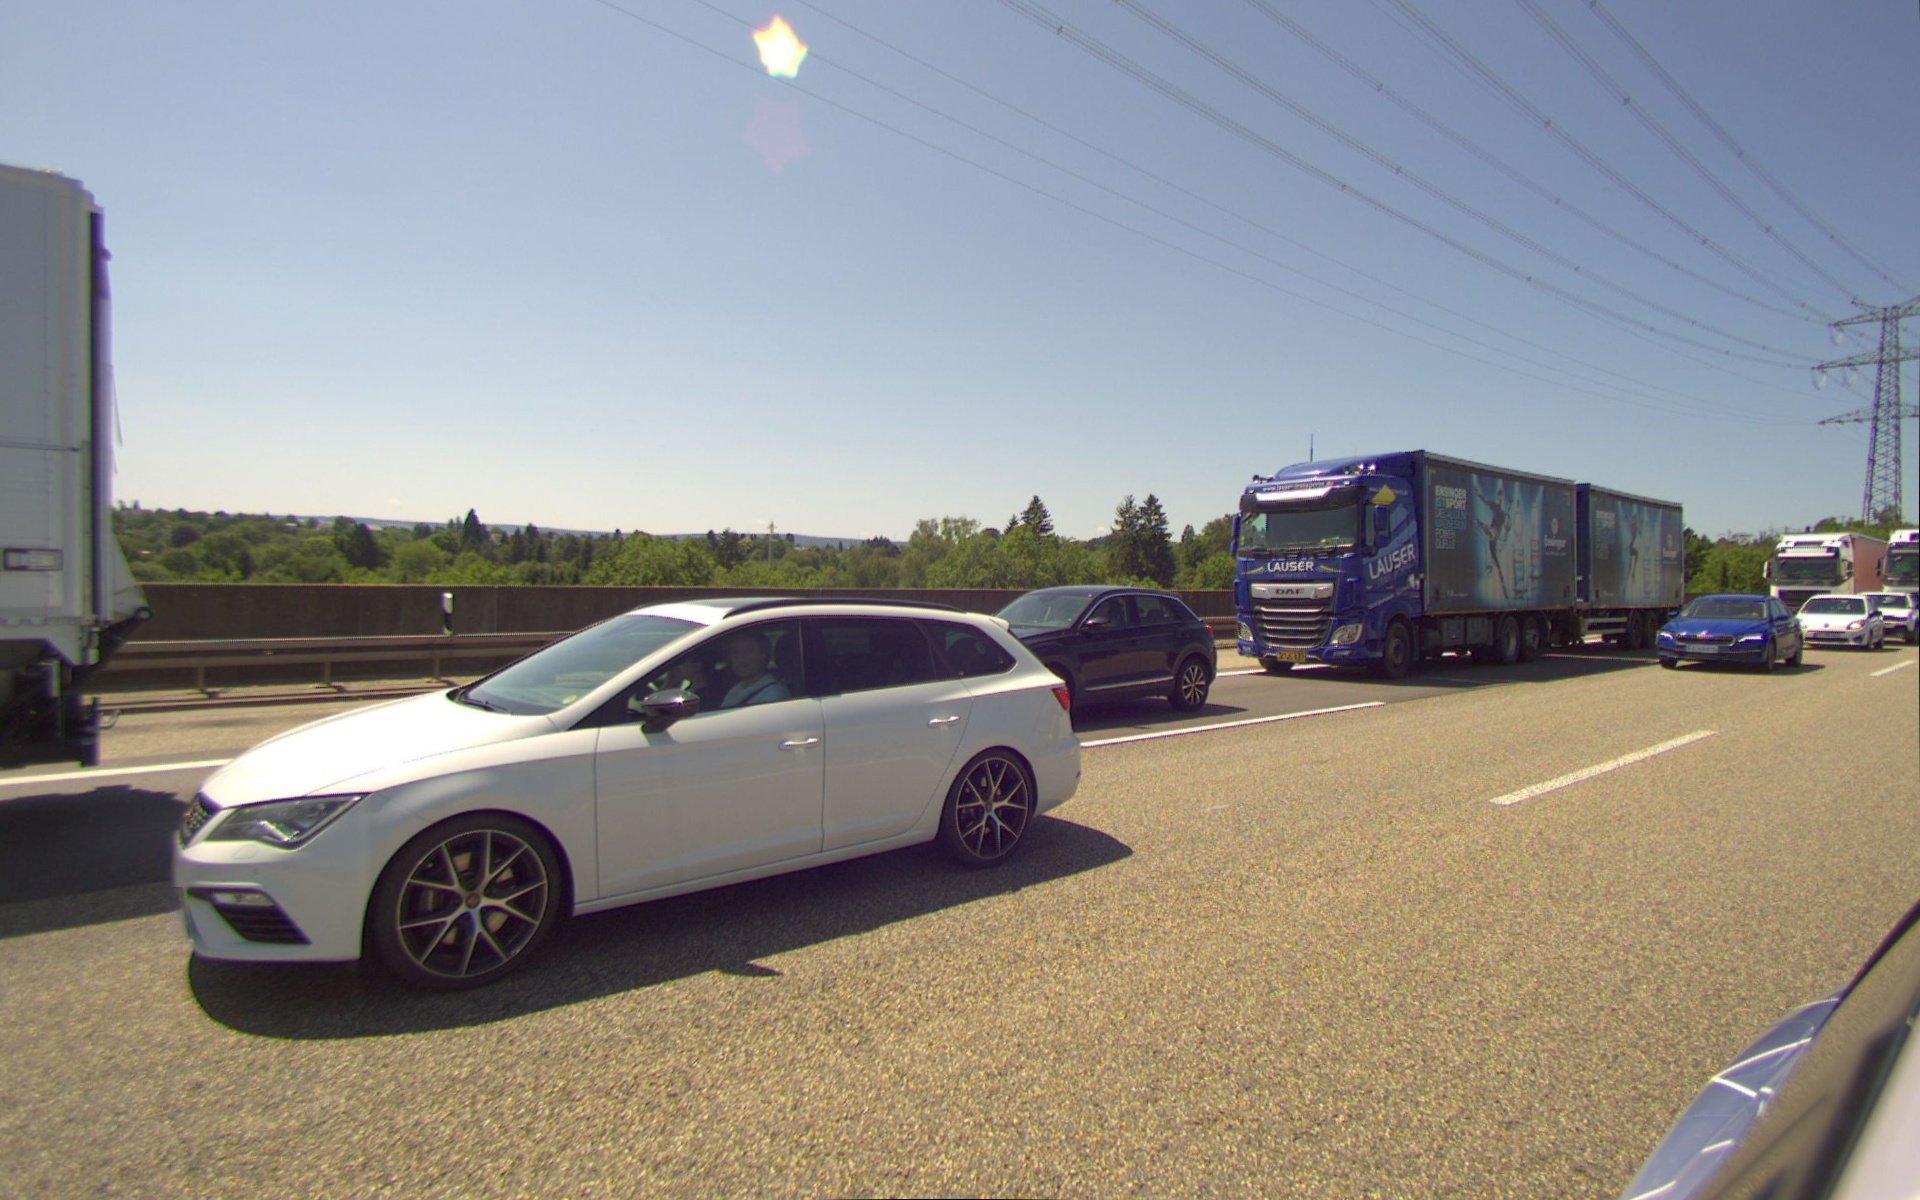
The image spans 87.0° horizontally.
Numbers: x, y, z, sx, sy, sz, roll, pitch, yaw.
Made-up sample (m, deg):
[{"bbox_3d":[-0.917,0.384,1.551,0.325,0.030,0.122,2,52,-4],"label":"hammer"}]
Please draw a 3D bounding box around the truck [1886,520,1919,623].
[{"bbox_3d":[39.299,-1.122,39.985,8.117,3.874,2.848,-1,1,-39],"label":"truck"}]

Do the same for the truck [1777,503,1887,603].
[{"bbox_3d":[38.720,-1.986,44.840,8.122,4.037,2.606,-1,1,-41],"label":"truck"}]

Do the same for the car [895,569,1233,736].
[{"bbox_3d":[1.358,0.490,12.126,4.045,1.675,1.712,-1,1,-40],"label":"car"}]

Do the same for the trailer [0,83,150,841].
[{"bbox_3d":[-8.509,-0.673,4.086,8.072,3.940,2.903,-1,1,-41],"label":"trailer"}]

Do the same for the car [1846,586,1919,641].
[{"bbox_3d":[27.923,0.355,30.156,4.071,1.528,1.712,-1,1,-40],"label":"car"}]

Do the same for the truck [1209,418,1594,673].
[{"bbox_3d":[9.274,-0.937,20.294,10.211,3.999,2.857,-1,1,-40],"label":"truck"}]

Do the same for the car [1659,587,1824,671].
[{"bbox_3d":[15.661,0.491,20.196,4.483,1.470,1.712,-1,1,-40],"label":"car"}]

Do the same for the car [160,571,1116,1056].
[{"bbox_3d":[-1.266,0.640,5.164,4.352,1.470,1.711,0,0,-41],"label":"car"}]

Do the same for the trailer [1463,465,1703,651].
[{"bbox_3d":[16.426,-1.002,26.357,8.486,4.140,2.833,-1,1,-40],"label":"trailer"}]

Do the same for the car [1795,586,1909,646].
[{"bbox_3d":[23.962,0.375,27.148,4.071,1.470,1.712,-1,1,-40],"label":"car"}]

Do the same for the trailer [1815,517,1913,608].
[{"bbox_3d":[45.132,-1.788,50.425,8.928,4.169,2.606,-1,1,-41],"label":"trailer"}]
